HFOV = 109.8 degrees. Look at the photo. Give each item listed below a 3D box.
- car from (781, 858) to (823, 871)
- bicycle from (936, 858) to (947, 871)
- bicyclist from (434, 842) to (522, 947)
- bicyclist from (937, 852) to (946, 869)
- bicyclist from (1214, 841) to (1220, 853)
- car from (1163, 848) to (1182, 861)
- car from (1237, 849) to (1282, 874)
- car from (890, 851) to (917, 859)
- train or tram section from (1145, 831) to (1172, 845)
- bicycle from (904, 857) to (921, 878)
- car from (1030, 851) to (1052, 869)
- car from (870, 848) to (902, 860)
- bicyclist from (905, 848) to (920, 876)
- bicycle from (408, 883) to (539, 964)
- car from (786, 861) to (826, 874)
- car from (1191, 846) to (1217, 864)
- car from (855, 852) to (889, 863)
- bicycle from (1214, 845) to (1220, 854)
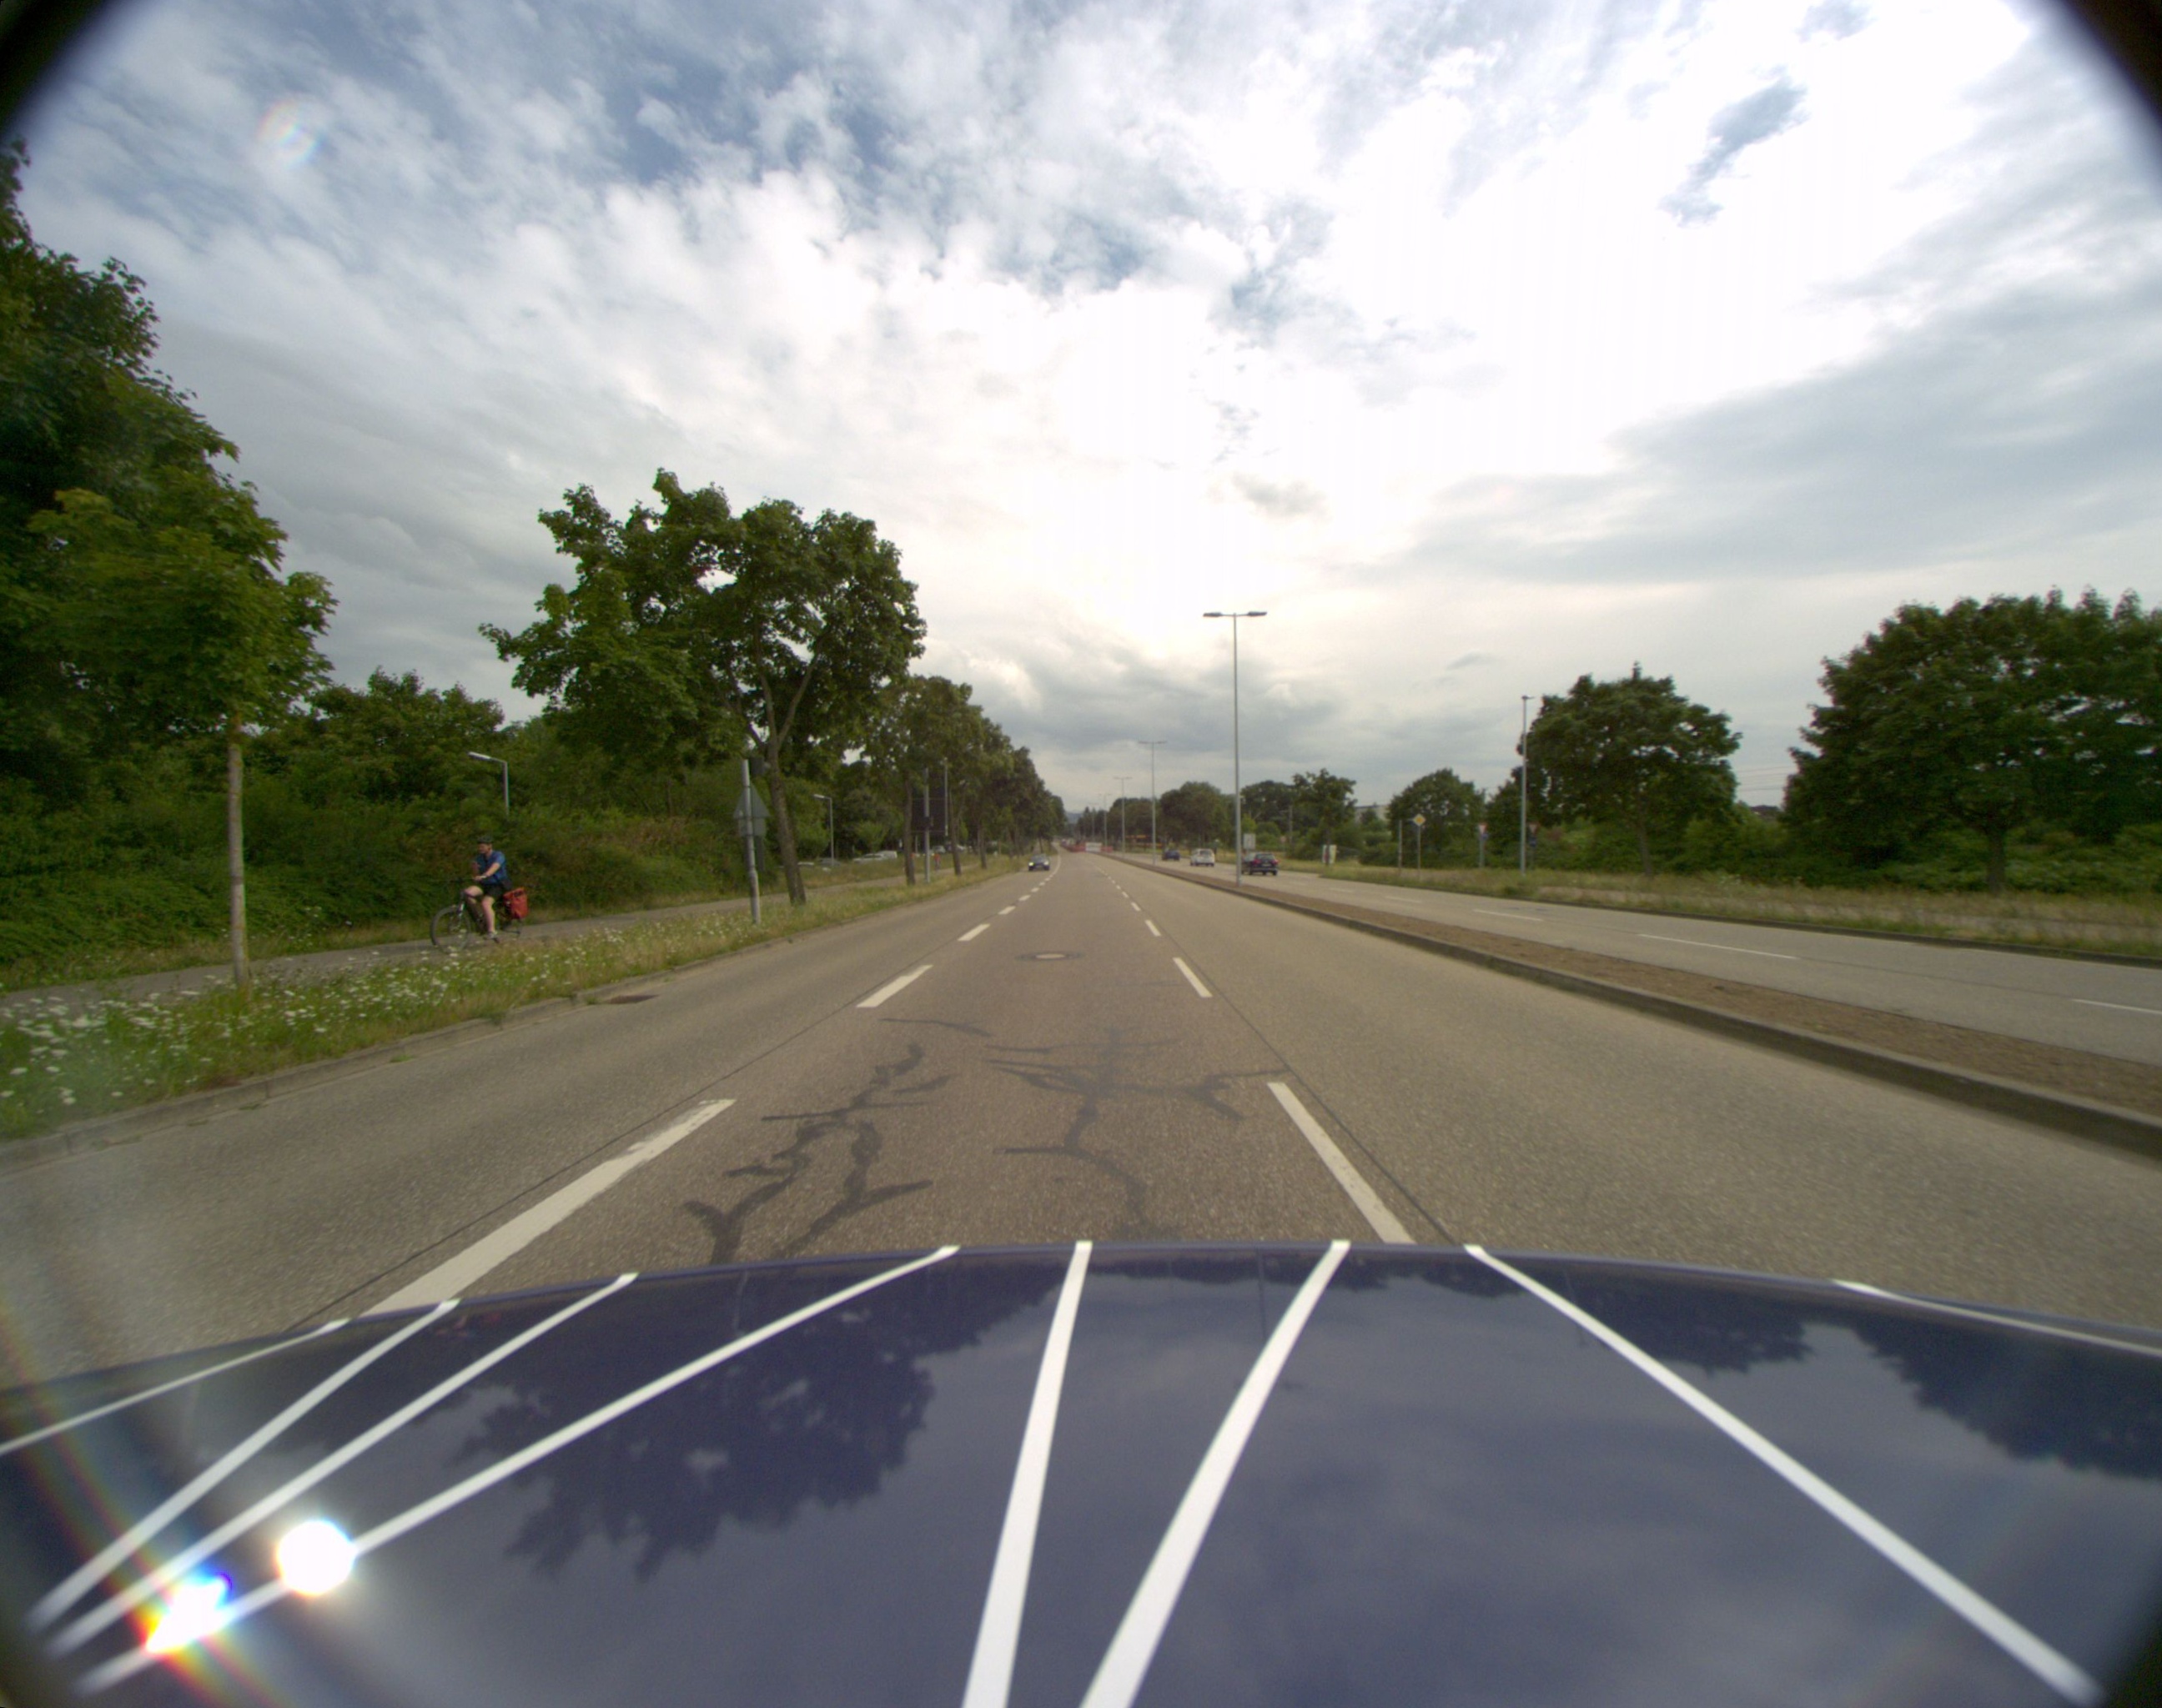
[{"bbox_3d":[-26.510,1.025,72.290,3.448,1.184,1.357,-1,1,-6],"label":"car"},{"bbox_3d":[-10.440,0.769,56.818,0.515,0.959,1.782,0,1,-1],"label":"bicycle"},{"bbox_3d":[-9.881,0.640,12.486,0.653,1.648,0.876,-2,2,-1],"label":"bicyclist"},{"bbox_3d":[-10.445,0.491,56.710,0.540,1.275,0.450,-2,2,-1],"label":"bicyclist"},{"bbox_3d":[21.407,-1.071,119.623,0.645,1.821,0.819,0,1,-1],"label":"bicyclist"},{"bbox_3d":[11.822,0.015,98.634,1.852,1.644,4.563,0,1,-1],"label":"car"},{"bbox_3d":[11.632,0.453,49.773,1.773,1.523,4.740,0,1,-1],"label":"car"},{"bbox_3d":[-28.608,0.162,122.427,3.999,1.359,1.618,0,1,-6],"label":"car"},{"bbox_3d":[20.081,-4.061,198.131,2.924,3.402,11.929,-2,1,-15],"label":"train or tram section"},{"bbox_3d":[-9.970,0.801,44.952,0.515,1.141,2.231,0,1,-1],"label":"bicycle"},{"bbox_3d":[-3.379,0.481,65.540,1.773,1.439,4.322,-1,1,-2],"label":"car"},{"bbox_3d":[-26.603,0.018,103.912,3.999,1.547,1.650,0,1,-6],"label":"car"},{"bbox_3d":[-9.949,0.460,44.976,0.653,1.648,0.780,-2,2,-1],"label":"bicyclist"},{"bbox_3d":[-9.879,1.083,12.461,0.575,1.141,1.982,0,1,-1],"label":"bicycle"},{"bbox_3d":[-26.840,1.314,74.327,3.448,1.184,1.357,-1,1,-6],"label":"car"},{"bbox_3d":[12.053,0.109,74.857,1.773,1.644,4.637,1,1,-1],"label":"car"},{"bbox_3d":[-26.516,0.444,96.456,3.999,1.435,1.650,0,1,-6],"label":"car"},{"bbox_3d":[21.383,-0.703,119.763,0.537,1.414,2.166,1,1,0],"label":"bicycle"}]
